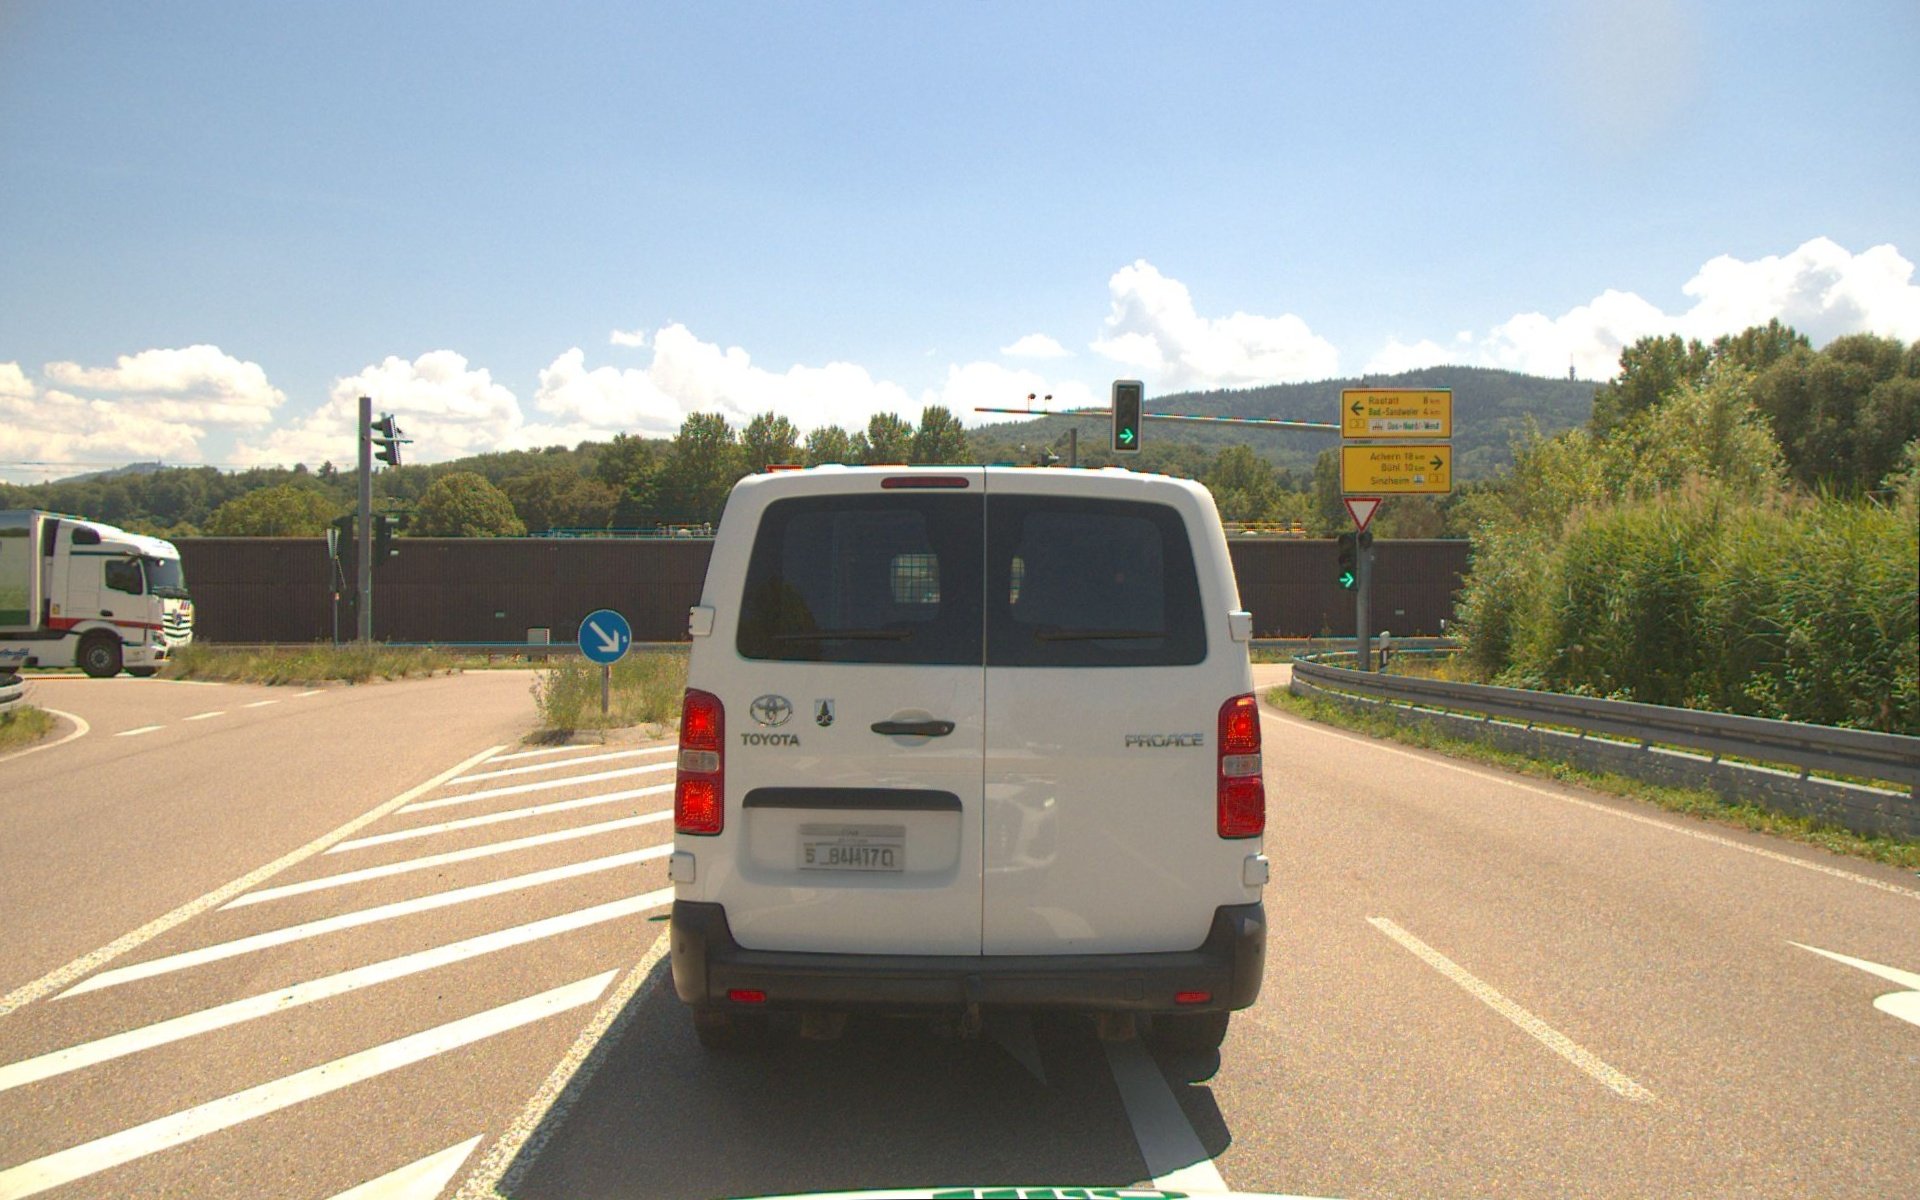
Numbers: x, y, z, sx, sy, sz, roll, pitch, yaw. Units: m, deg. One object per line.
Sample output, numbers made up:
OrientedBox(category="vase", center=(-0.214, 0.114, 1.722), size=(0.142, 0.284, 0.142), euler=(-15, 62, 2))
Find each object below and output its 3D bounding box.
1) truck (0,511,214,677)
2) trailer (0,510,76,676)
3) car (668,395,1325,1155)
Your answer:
OrientedBox(category="truck", center=(-22.384, -0.144, 41.779), size=(5.649, 4.024, 3.061), euler=(0, -1, -3))
OrientedBox(category="trailer", center=(-29.513, -0.184, 41.441), size=(12.877, 4.024, 3.060), euler=(0, -1, -3))
OrientedBox(category="car", center=(0.073, 0.483, 6.494), size=(1.778, 2.053, 3.999), euler=(0, 0, -1))
